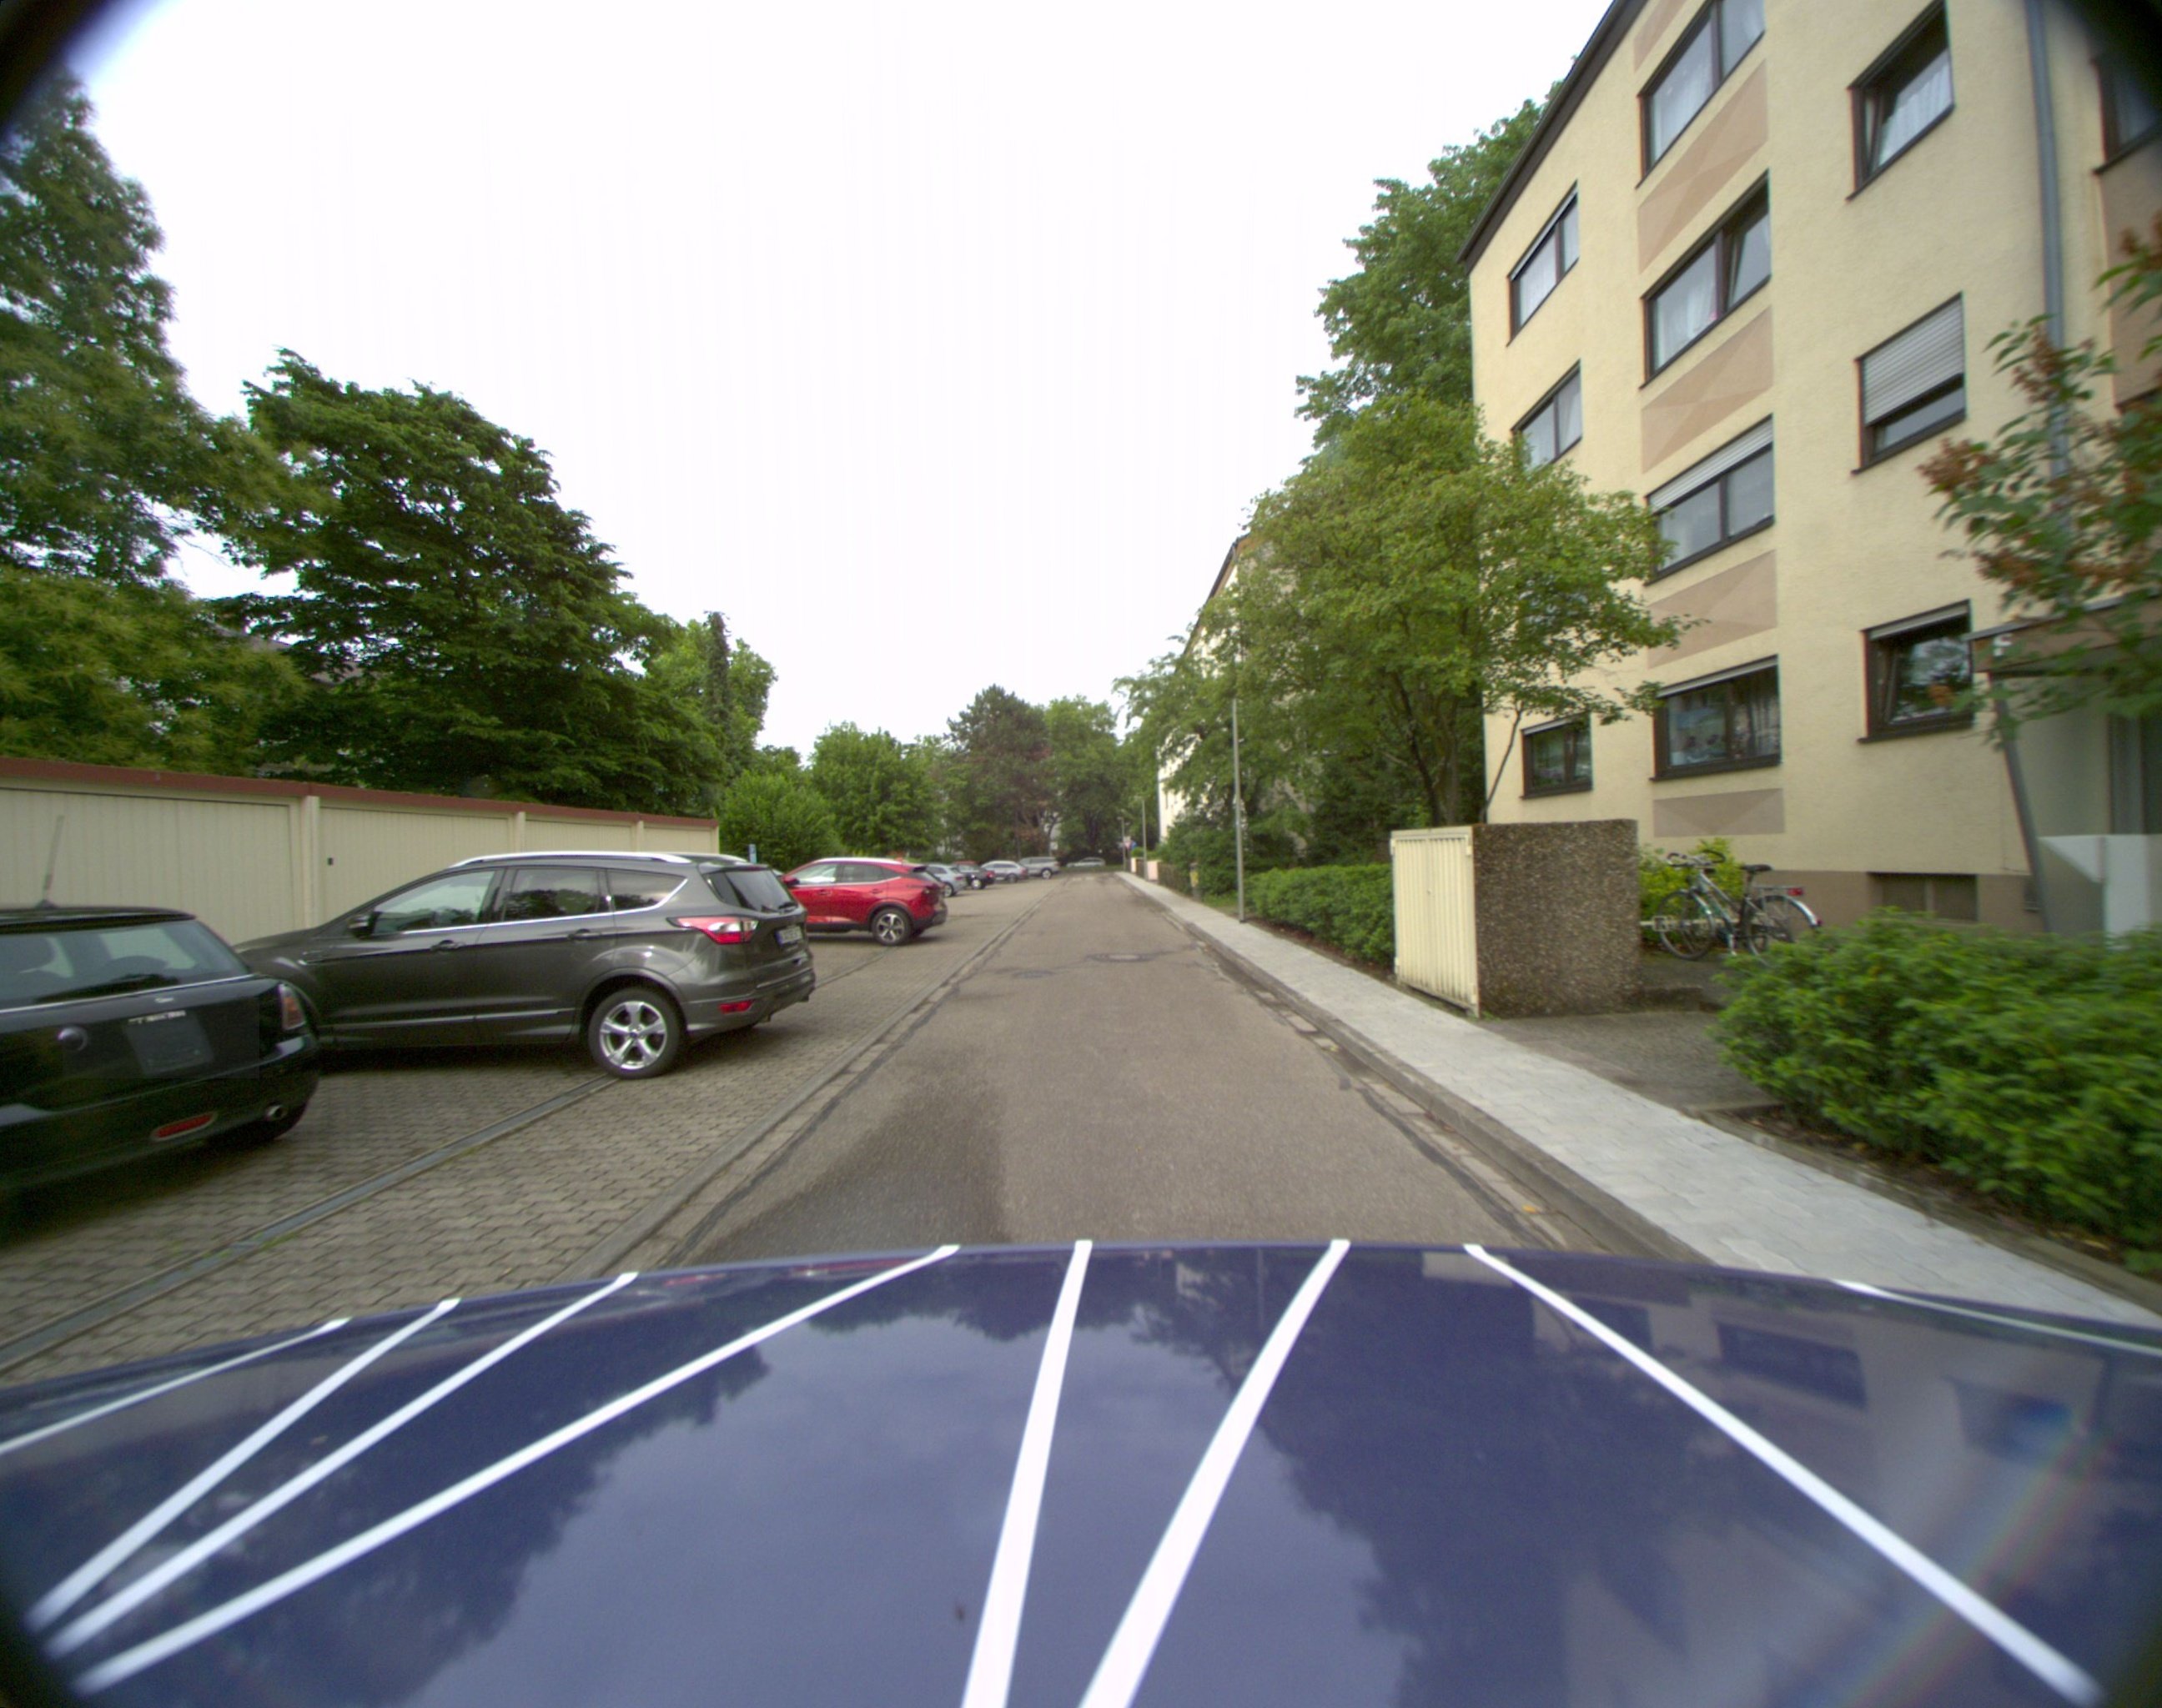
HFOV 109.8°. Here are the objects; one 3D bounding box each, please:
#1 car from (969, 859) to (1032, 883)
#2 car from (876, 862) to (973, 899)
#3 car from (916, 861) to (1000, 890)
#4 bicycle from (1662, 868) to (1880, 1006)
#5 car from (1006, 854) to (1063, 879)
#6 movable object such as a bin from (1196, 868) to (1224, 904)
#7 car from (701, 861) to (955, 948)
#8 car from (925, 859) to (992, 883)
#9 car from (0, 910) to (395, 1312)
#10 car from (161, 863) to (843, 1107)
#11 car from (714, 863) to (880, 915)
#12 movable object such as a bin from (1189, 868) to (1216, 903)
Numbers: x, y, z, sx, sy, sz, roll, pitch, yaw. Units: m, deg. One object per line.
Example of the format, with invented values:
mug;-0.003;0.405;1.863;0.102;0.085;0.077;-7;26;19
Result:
car;-5.503;1.150;52.537;4.104;1.476;1.787;-3;0;0
car;-7.027;1.197;34.376;3.976;1.426;1.731;-3;0;-2
car;-6.744;1.170;42.007;4.334;1.476;1.788;1;0;1
bicycle;5.942;0.660;6.676;0.315;1.045;1.691;-2;-1;-1
car;-3.484;0.929;57.601;4.104;1.636;1.787;-3;0;0
movable object such as a bin;3.742;0.933;22.056;0.597;1.016;0.536;0;0;-19
car;-4.765;0.933;14.810;4.299;1.577;1.935;0;0;0
car;-8.043;1.112;50.175;4.103;1.476;1.788;1;0;1
car;-6.073;1.058;3.633;3.766;1.437;2.000;0;0;0
car;-4.428;0.945;6.402;4.206;1.717;2.000;0;0;0
car;-8.974;1.081;24.274;4.586;1.521;1.866;-1;0;0
movable object such as a bin;3.624;0.921;22.657;0.597;1.016;0.536;0;0;-19
